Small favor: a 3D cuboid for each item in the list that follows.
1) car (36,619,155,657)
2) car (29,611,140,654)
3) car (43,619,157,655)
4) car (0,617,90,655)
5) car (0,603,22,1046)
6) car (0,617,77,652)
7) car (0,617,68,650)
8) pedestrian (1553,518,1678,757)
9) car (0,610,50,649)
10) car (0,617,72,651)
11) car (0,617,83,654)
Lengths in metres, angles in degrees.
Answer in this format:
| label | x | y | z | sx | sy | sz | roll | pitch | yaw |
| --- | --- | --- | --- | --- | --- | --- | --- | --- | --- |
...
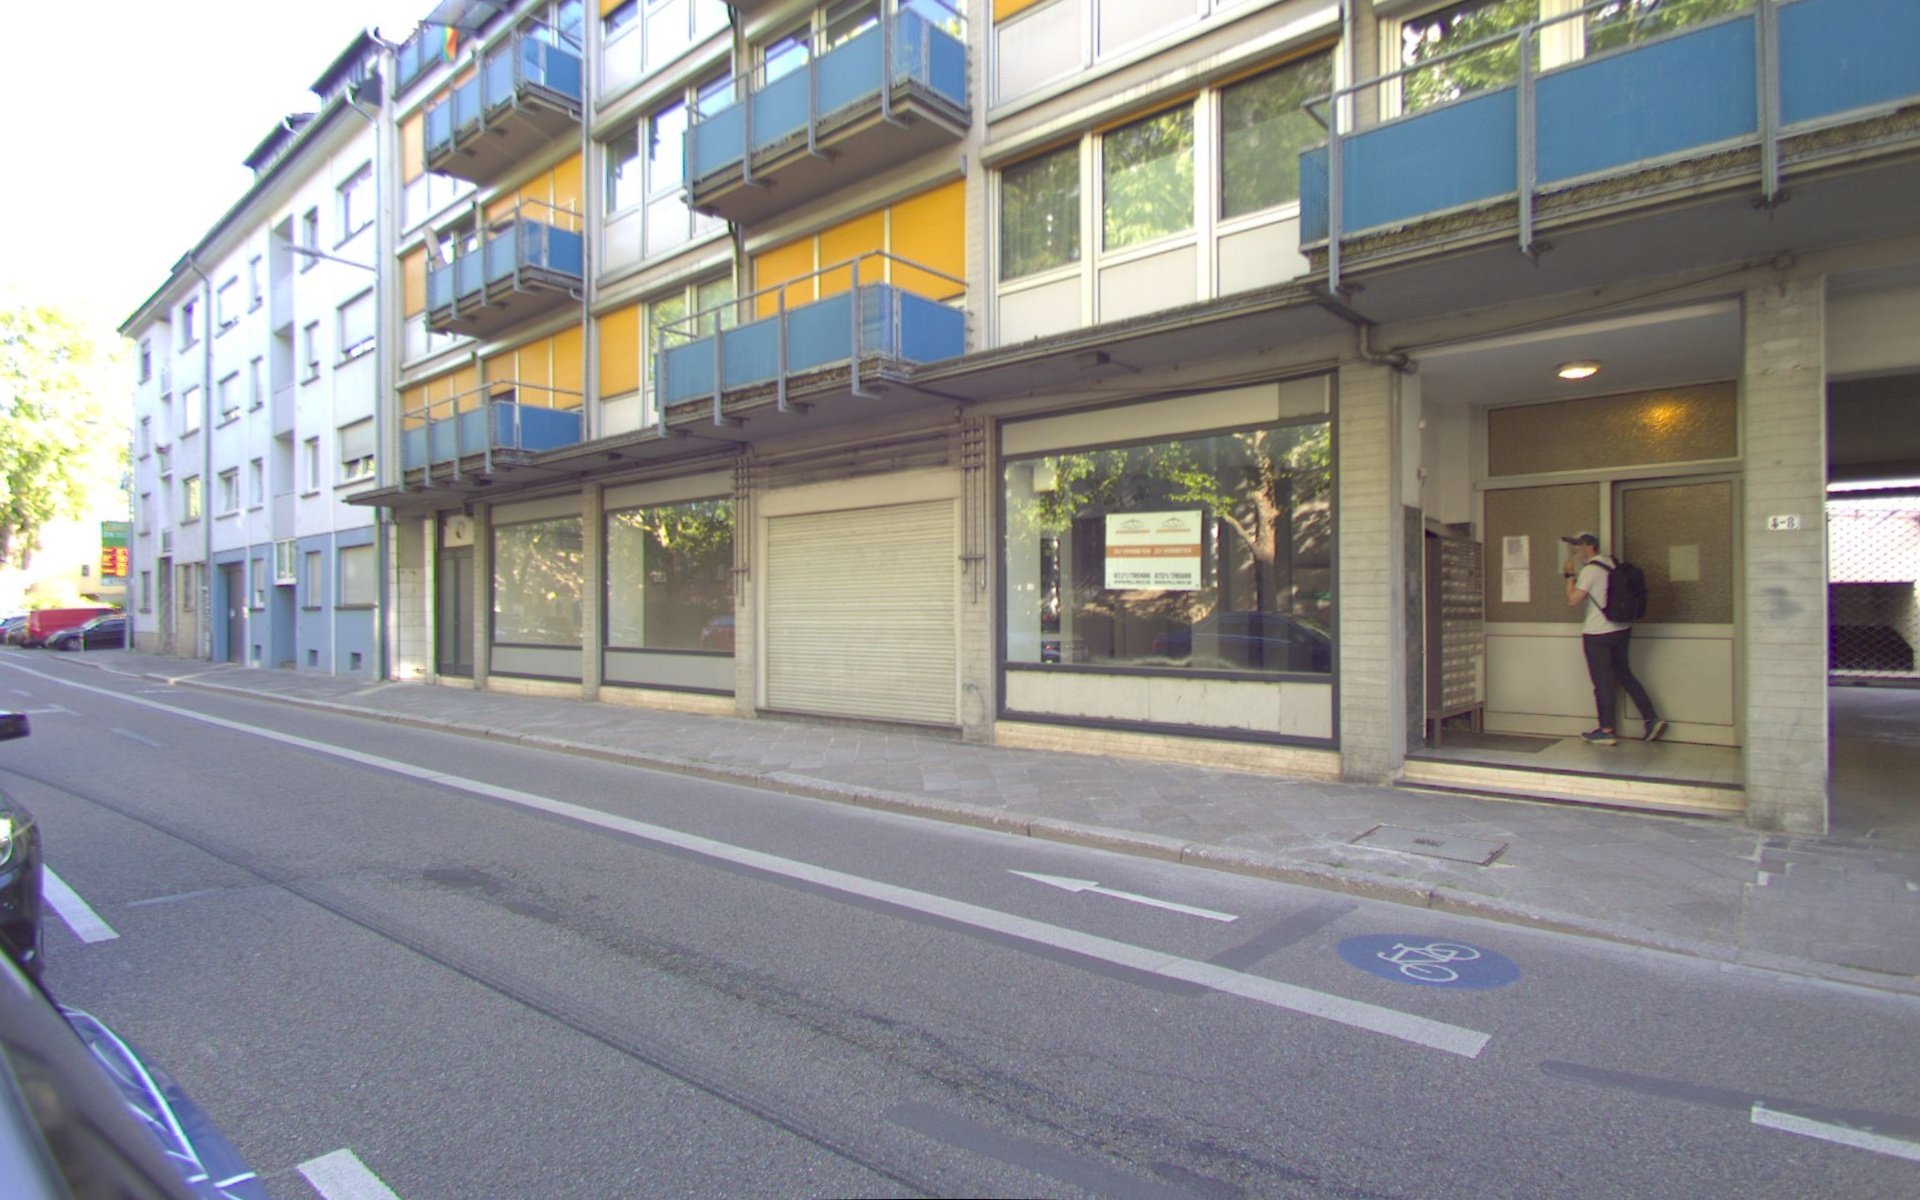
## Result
| label | x | y | z | sx | sy | sz | roll | pitch | yaw |
| --- | --- | --- | --- | --- | --- | --- | --- | --- | --- |
| car | -39.768 | 1.721 | 46.614 | 2.000 | 1.564 | 3.944 | -1 | 0 | 42 |
| car | -43.441 | 1.569 | 50.260 | 2.000 | 1.962 | 3.944 | -1 | 0 | 42 |
| car | -41.186 | 1.739 | 48.535 | 2.000 | 1.564 | 3.944 | -1 | 0 | 42 |
| car | -51.581 | 2.005 | 56.838 | 2.000 | 1.962 | 3.944 | -1 | 0 | 42 |
| car | -5.534 | 0.808 | 4.287 | 4.479 | 1.512 | 1.842 | -1 | -1 | 41 |
| car | -55.613 | 2.057 | 60.573 | 2.000 | 1.962 | 3.944 | -1 | 0 | 42 |
| car | -59.218 | 2.103 | 64.024 | 2.000 | 1.962 | 3.944 | -1 | 0 | 42 |
| pedestrian | 5.448 | 0.297 | 8.454 | 0.782 | 1.894 | 0.577 | -1 | 0 | 26 |
| car | -62.810 | 1.950 | 66.793 | 2.000 | 2.538 | 3.944 | -1 | 0 | 42 |
| car | -57.418 | 2.080 | 62.291 | 2.000 | 1.962 | 3.944 | -1 | 0 | 42 |
| car | -53.532 | 2.030 | 58.621 | 2.000 | 1.962 | 3.944 | -1 | 0 | 42 |
